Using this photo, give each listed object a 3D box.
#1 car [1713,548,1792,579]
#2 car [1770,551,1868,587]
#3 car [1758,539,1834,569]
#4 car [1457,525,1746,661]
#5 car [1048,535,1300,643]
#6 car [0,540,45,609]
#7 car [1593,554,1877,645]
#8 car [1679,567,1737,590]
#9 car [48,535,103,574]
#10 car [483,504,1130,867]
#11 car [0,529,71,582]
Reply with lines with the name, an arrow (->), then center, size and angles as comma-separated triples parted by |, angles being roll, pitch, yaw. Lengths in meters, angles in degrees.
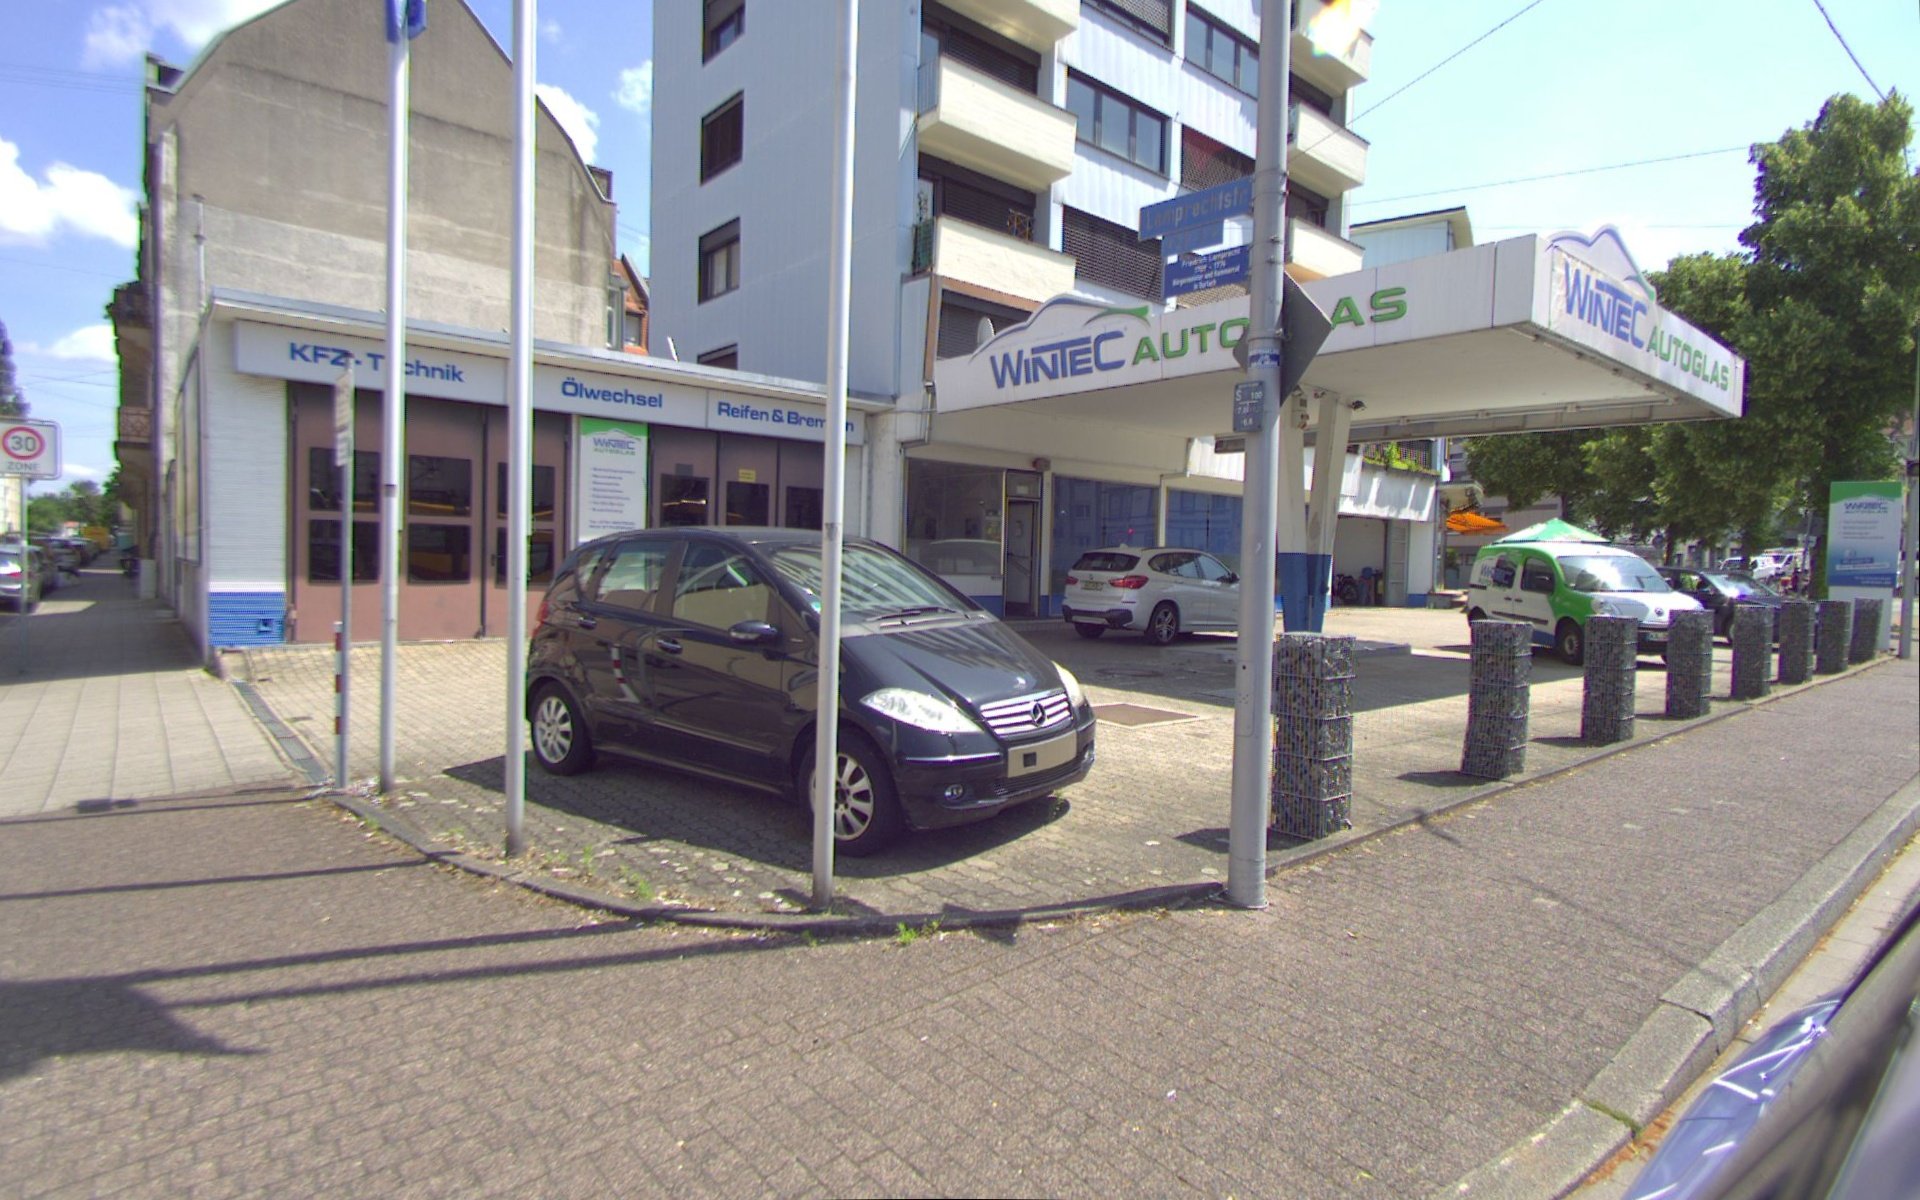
car -> 54.526, -2.510, 69.628 | 5.273, 2.038, 2.405 | -2, 2, -29
car -> 51.872, -1.897, 61.078 | 6.245, 2.038, 2.405 | -2, 2, -29
car -> 60.196, -3.304, 72.847 | 5.273, 2.038, 2.405 | -2, 2, -29
car -> 9.839, -0.158, 16.006 | 1.788, 1.812, 4.291 | -1, 2, 0
car -> 3.796, -0.237, 17.535 | 4.621, 1.646, 1.750 | -1, 3, -39
car -> -22.805, -0.567, 23.835 | 1.622, 1.526, 3.995 | -2, 2, -39
car -> 14.347, -0.093, 19.053 | 1.664, 1.446, 3.984 | 0, 3, -16
car -> 49.477, -1.432, 66.909 | 4.073, 1.386, 1.534 | -2, 2, -29
car -> -37.634, -1.923, 43.126 | 1.622, 1.526, 3.995 | -2, 2, -39
car -> -1.101, 0.267, 6.261 | 3.869, 1.561, 1.818 | 3, 3, 38
car -> -32.065, -1.516, 35.110 | 1.622, 1.723, 3.995 | -2, 2, -39
